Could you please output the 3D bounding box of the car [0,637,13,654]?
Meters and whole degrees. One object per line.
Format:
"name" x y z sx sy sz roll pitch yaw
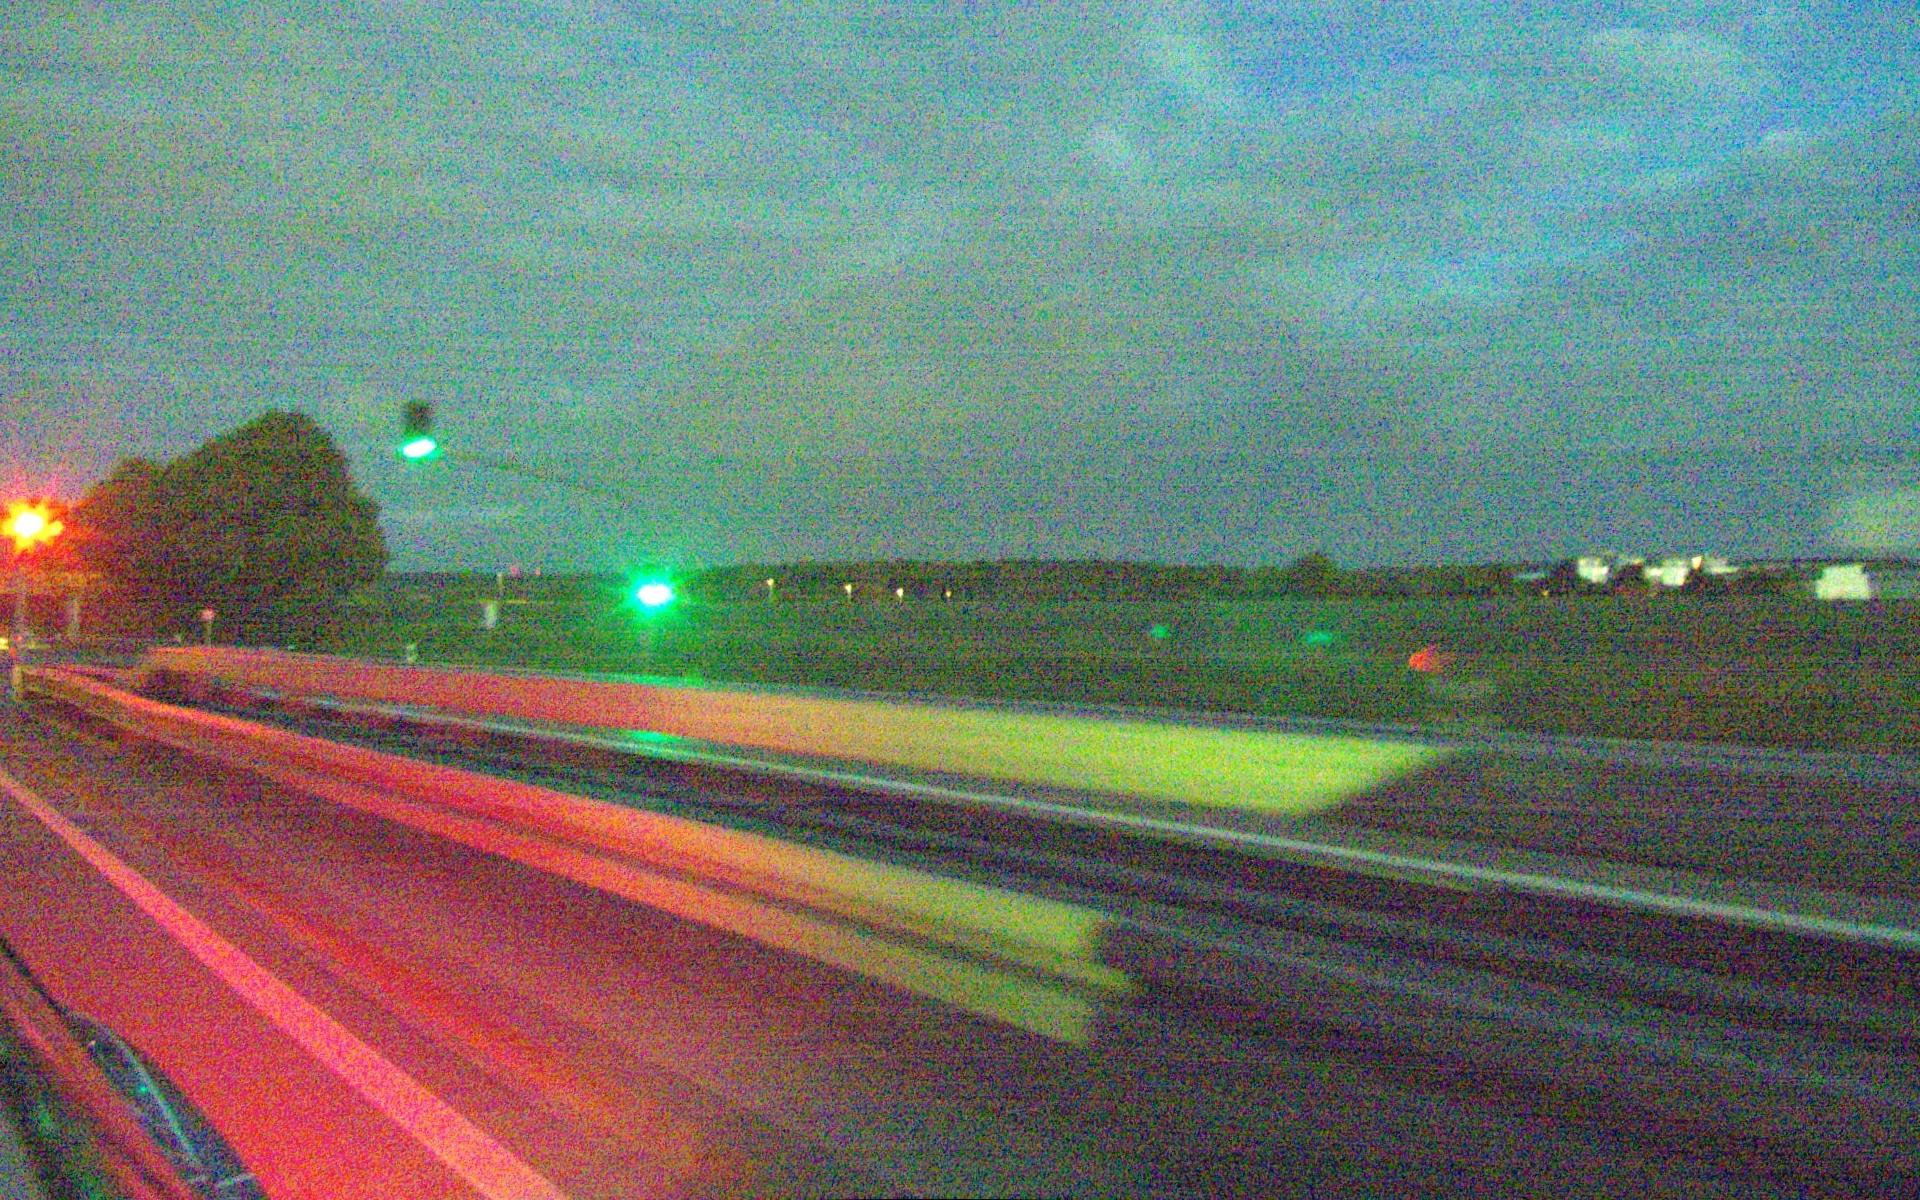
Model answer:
"car" -79.536 3.713 83.423 3.936 1.340 1.589 -2 -4 40
